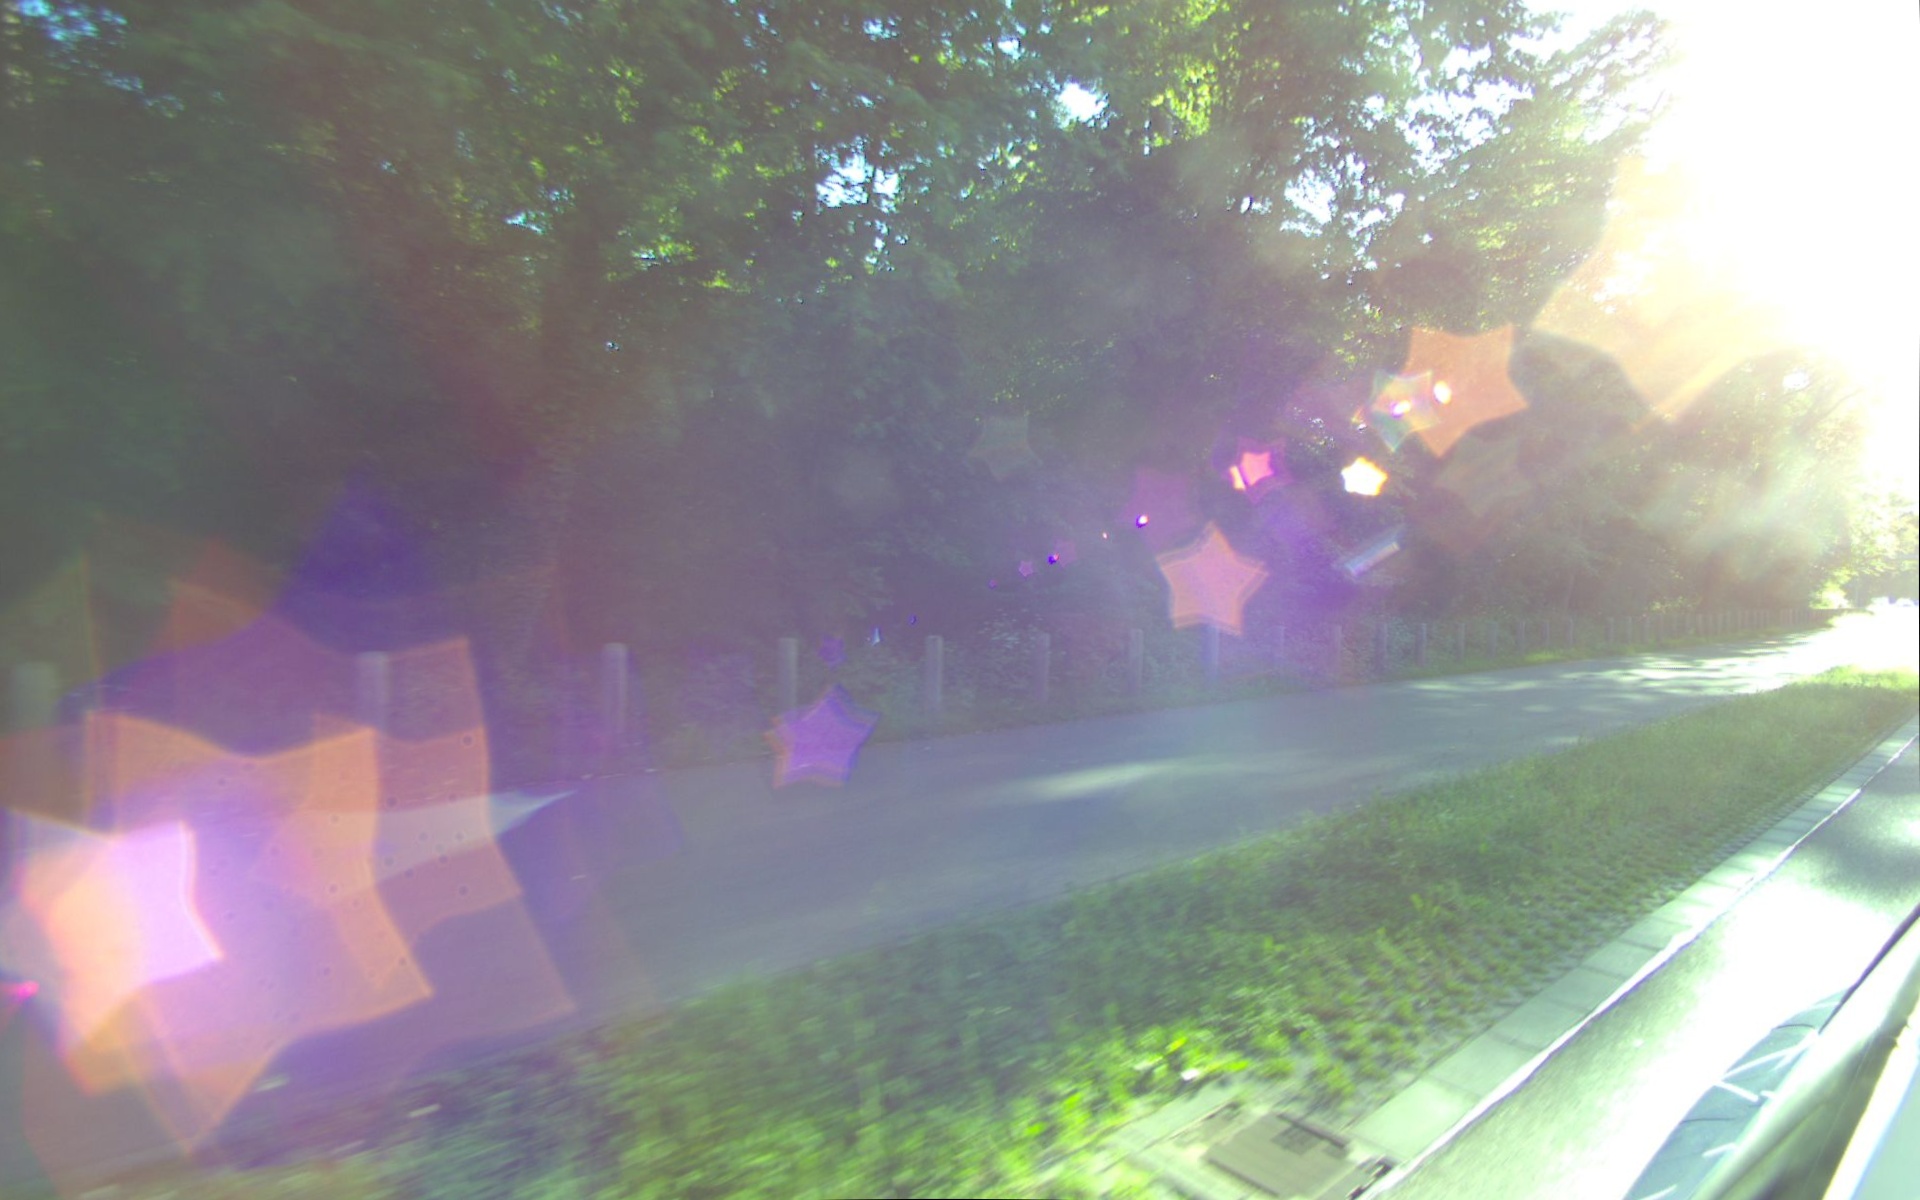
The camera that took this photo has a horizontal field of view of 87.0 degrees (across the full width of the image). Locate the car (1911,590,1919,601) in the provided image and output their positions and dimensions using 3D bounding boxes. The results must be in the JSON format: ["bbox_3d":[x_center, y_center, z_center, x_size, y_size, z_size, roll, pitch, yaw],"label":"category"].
[{"bbox_3d":[162.893,-0.765,171.610,1.816,1.705,3.949,2,2,35],"label":"car"}]
